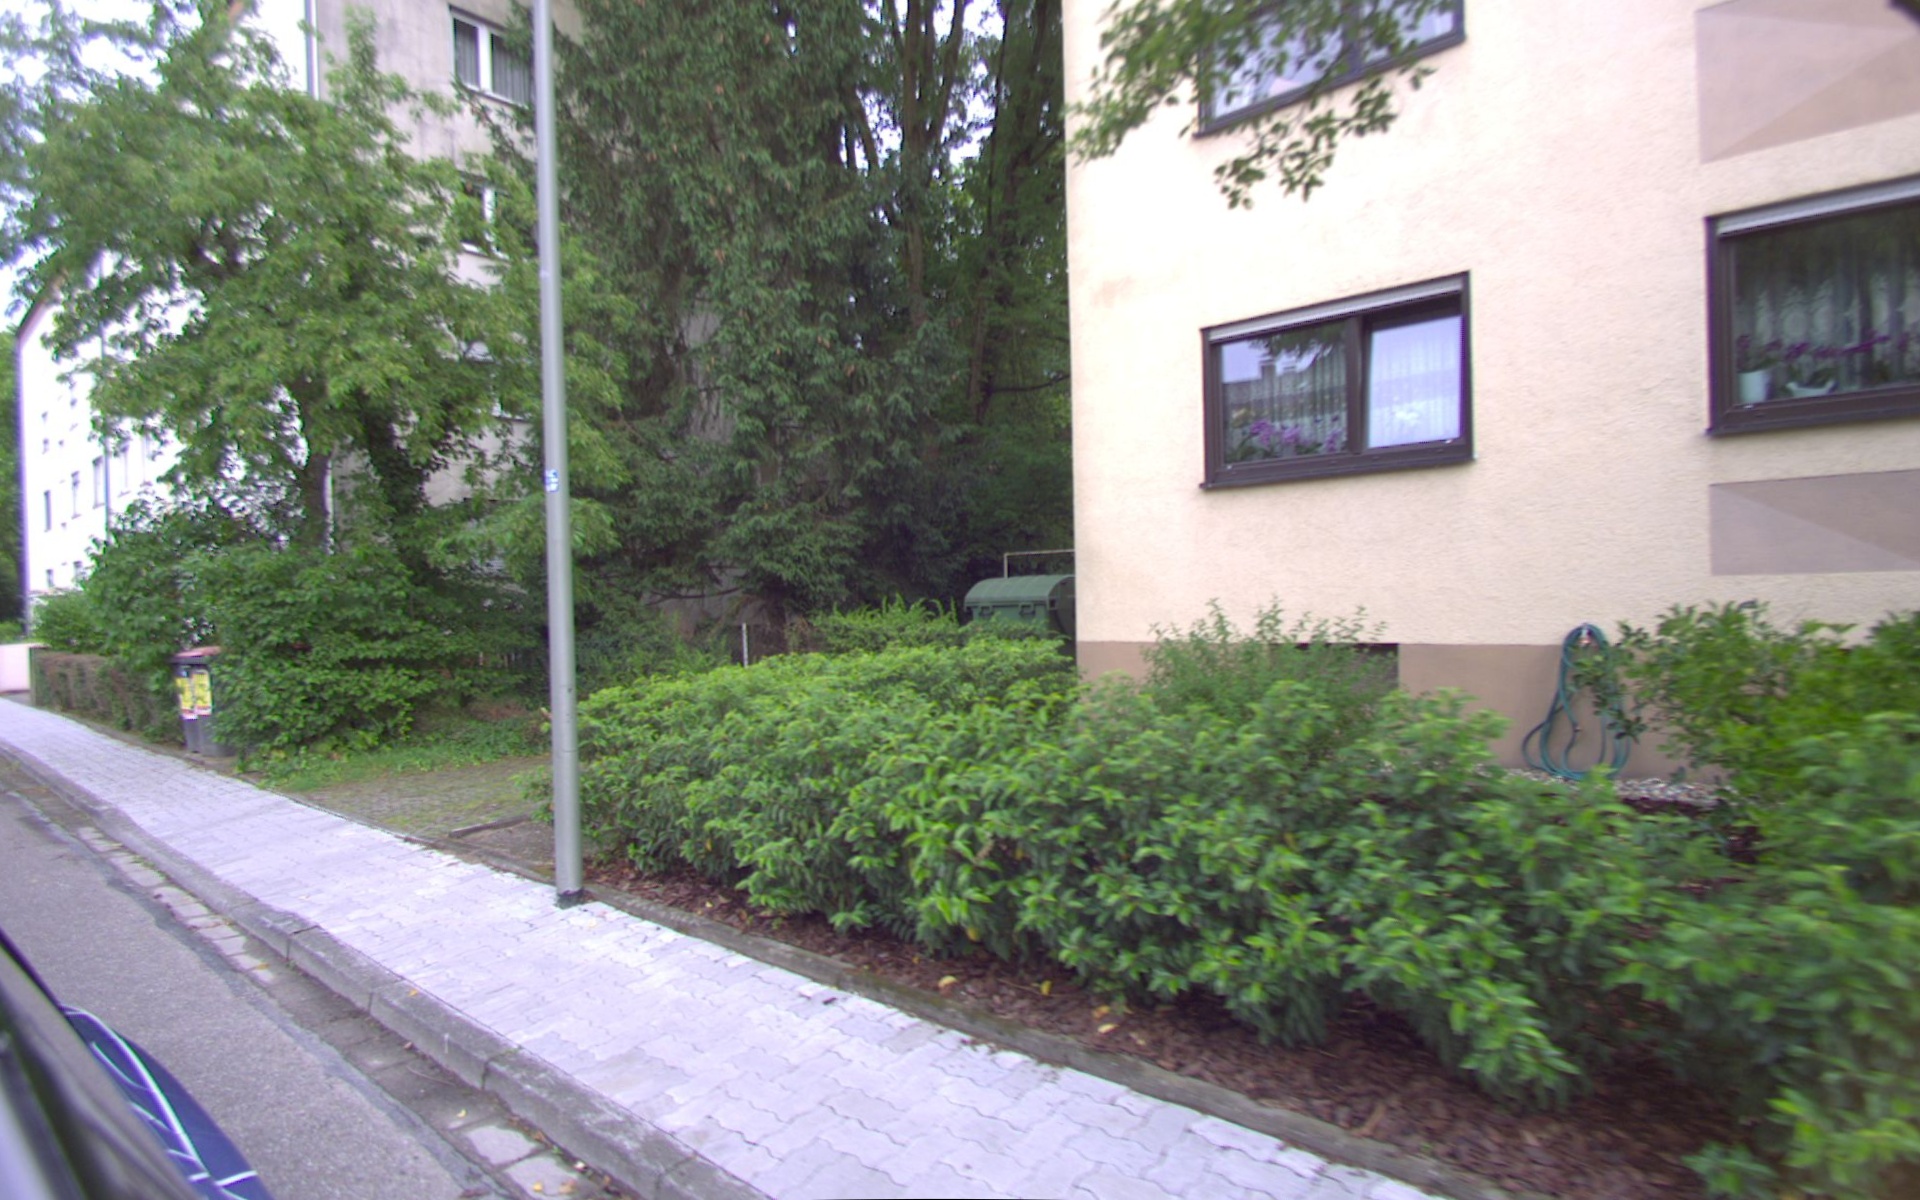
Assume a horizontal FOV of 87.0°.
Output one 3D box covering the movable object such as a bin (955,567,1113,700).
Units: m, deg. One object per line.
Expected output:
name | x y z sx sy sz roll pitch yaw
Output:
movable object such as a bin | 0.865 0.389 11.878 1.478 1.446 1.093 -2 -2 40

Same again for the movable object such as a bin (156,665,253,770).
movable object such as a bin | -7.769 1.187 10.421 0.534 1.030 0.592 -2 -3 22

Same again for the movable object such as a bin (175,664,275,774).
movable object such as a bin | -7.257 1.152 10.006 0.534 1.030 0.592 -2 -3 22

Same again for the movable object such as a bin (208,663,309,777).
movable object such as a bin | -6.707 1.123 9.687 0.534 1.030 0.592 -2 -3 22

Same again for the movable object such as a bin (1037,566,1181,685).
movable object such as a bin | 1.933 0.333 13.148 1.478 1.446 1.093 -2 -2 40
